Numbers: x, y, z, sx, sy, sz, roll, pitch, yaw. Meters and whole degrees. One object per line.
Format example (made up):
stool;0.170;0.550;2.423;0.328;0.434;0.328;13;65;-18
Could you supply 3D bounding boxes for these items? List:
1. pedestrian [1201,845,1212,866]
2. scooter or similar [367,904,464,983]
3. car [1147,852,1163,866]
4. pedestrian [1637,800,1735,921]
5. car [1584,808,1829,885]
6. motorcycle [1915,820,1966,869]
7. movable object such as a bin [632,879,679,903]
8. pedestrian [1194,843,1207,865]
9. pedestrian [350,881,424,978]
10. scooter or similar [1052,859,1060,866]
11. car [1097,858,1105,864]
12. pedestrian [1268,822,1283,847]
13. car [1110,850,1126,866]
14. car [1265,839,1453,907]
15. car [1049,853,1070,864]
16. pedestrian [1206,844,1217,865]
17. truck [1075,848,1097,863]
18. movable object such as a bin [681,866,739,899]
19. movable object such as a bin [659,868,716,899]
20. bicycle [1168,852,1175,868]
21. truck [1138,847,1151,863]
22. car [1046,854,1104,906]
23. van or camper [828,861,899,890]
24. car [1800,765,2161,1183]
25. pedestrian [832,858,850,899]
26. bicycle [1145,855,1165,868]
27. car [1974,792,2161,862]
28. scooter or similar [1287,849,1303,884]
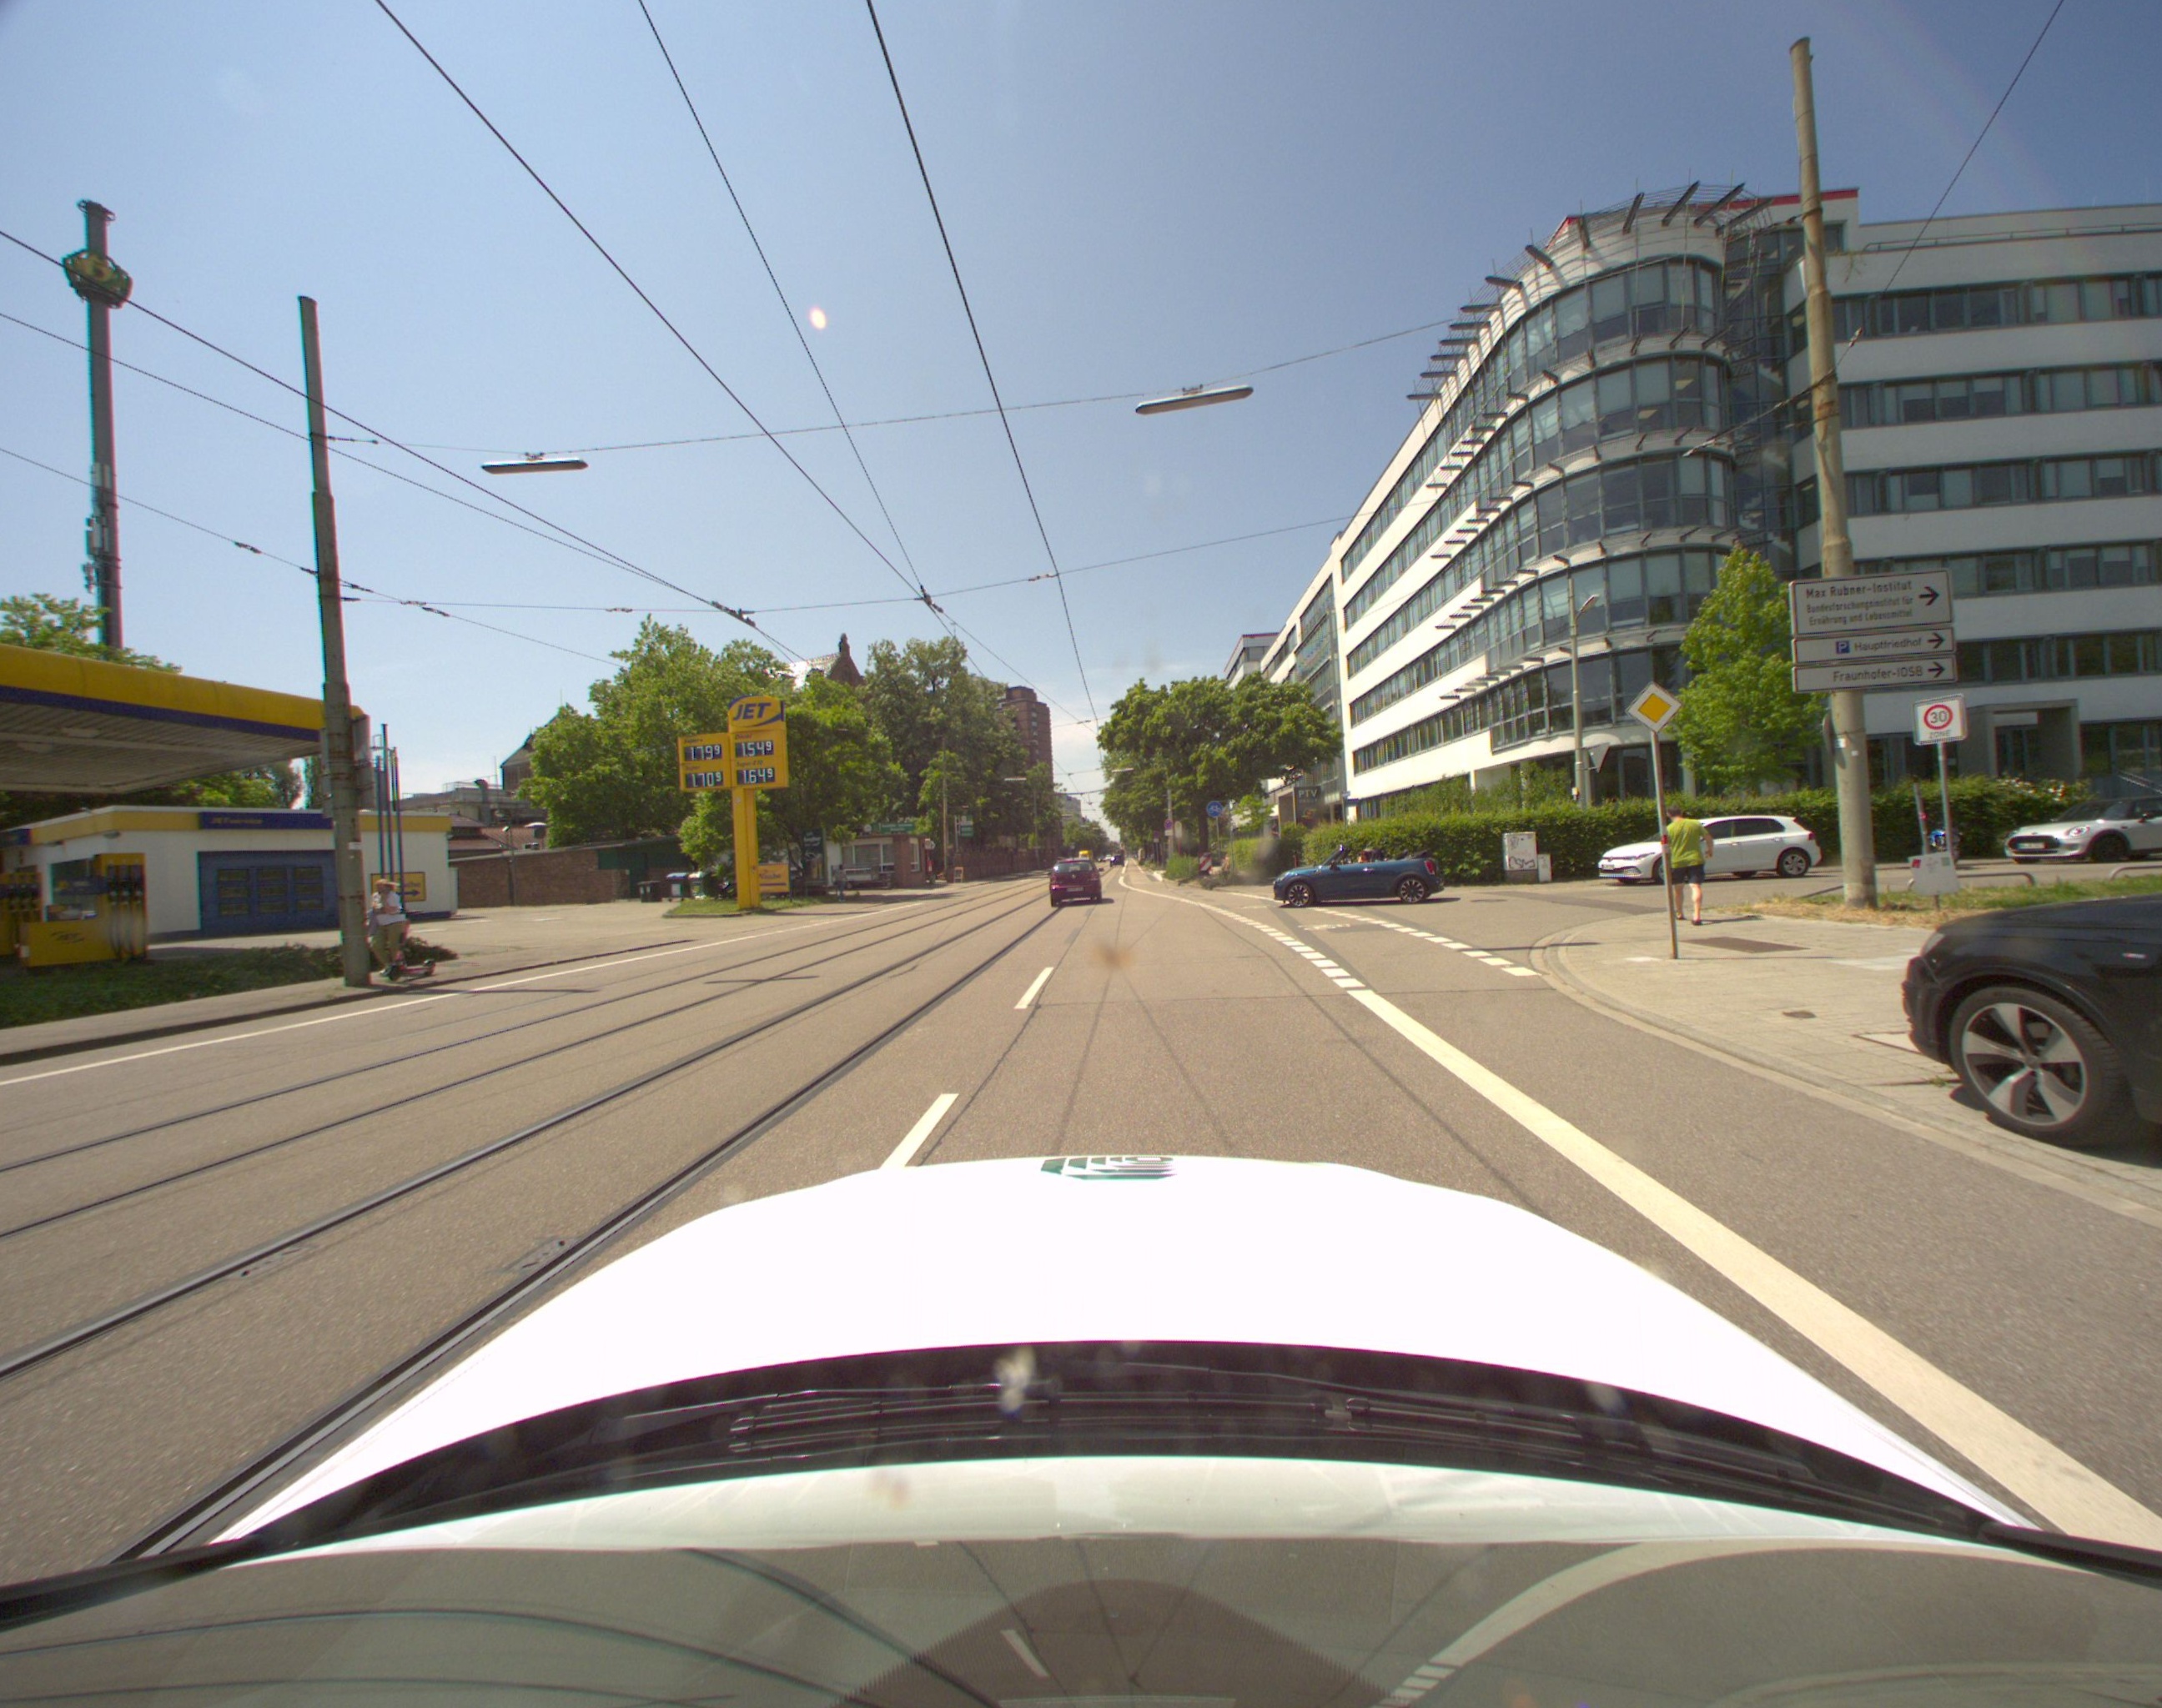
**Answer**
pedestrian;10.757;0.146;69.768;0.540;1.715;0.561;-4;-1;-26
scooter or similar;-11.576;1.535;14.222;0.517;1.200;1.377;-2;0;1
car;8.442;0.558;93.119;1.681;1.503;3.630;-5;0;3
pedestrian;8.762;0.084;11.812;0.839;1.667;0.730;-3;0;-17
car;14.355;-0.155;18.919;4.126;1.459;1.821;-3;0;7
motorcycle;19.809;-0.241;18.797;0.593;1.034;2.030;-3;0;41
movable object such as a bin;-21.866;1.901;41.843;1.391;1.138;1.574;-2;0;28
pedestrian;10.324;0.015;70.380;0.681;1.796;0.668;-4;-1;-28
pedestrian;-12.637;1.358;14.838;0.620;1.691;0.725;-3;0;13
scooter or similar;-4.200;1.398;137.210;1.091;1.155;0.524;-2;0;-18
car;4.841;1.675;196.479;1.763;1.516;4.004;-3;0;3
pedestrian;14.036;-1.392;58.745;0.868;1.715;1.093;-5;-1;11
car;4.943;0.486;110.074;1.986;2.013;4.001;-2;0;1
car;6.521;0.448;19.147;3.877;1.372;1.714;-4;-1;27
car;-4.376;0.912;166.719;3.965;2.013;2.004;-3;0;7
pedestrian;11.258;0.045;70.279;0.540;1.715;0.561;-4;-1;-26
truck;1.068;0.201;166.761;2.350;2.787;7.355;-3;0;19
movable object such as a bin;-18.515;1.405;40.667;1.506;1.509;2.112;-2;0;28
movable object such as a bin;-19.948;1.491;41.323;1.506;1.432;2.112;-2;0;28
bicycle;10.578;0.681;95.016;0.686;1.785;1.814;-5;-1;6
truck;11.077;0.159;142.599;1.985;2.662;4.879;-2;0;3
car;-0.132;0.783;26.715;1.612;1.486;4.003;-3;0;3
van or camper;-13.365;1.298;50.206;3.768;1.629;1.873;-2;1;3
car;5.213;0.417;2.378;1.915;1.693;5.088;-5;0;5
pedestrian;-10.772;1.087;36.577;0.578;1.775;0.699;-2;0;0
bicycle;7.317;0.716;80.642;1.876;1.182;0.695;-4;-1;3
car;23.798;-0.647;18.878;4.133;1.409;1.768;-3;0;1
scooter or similar;7.663;0.445;29.084;0.323;1.222;1.158;-2;0;25
